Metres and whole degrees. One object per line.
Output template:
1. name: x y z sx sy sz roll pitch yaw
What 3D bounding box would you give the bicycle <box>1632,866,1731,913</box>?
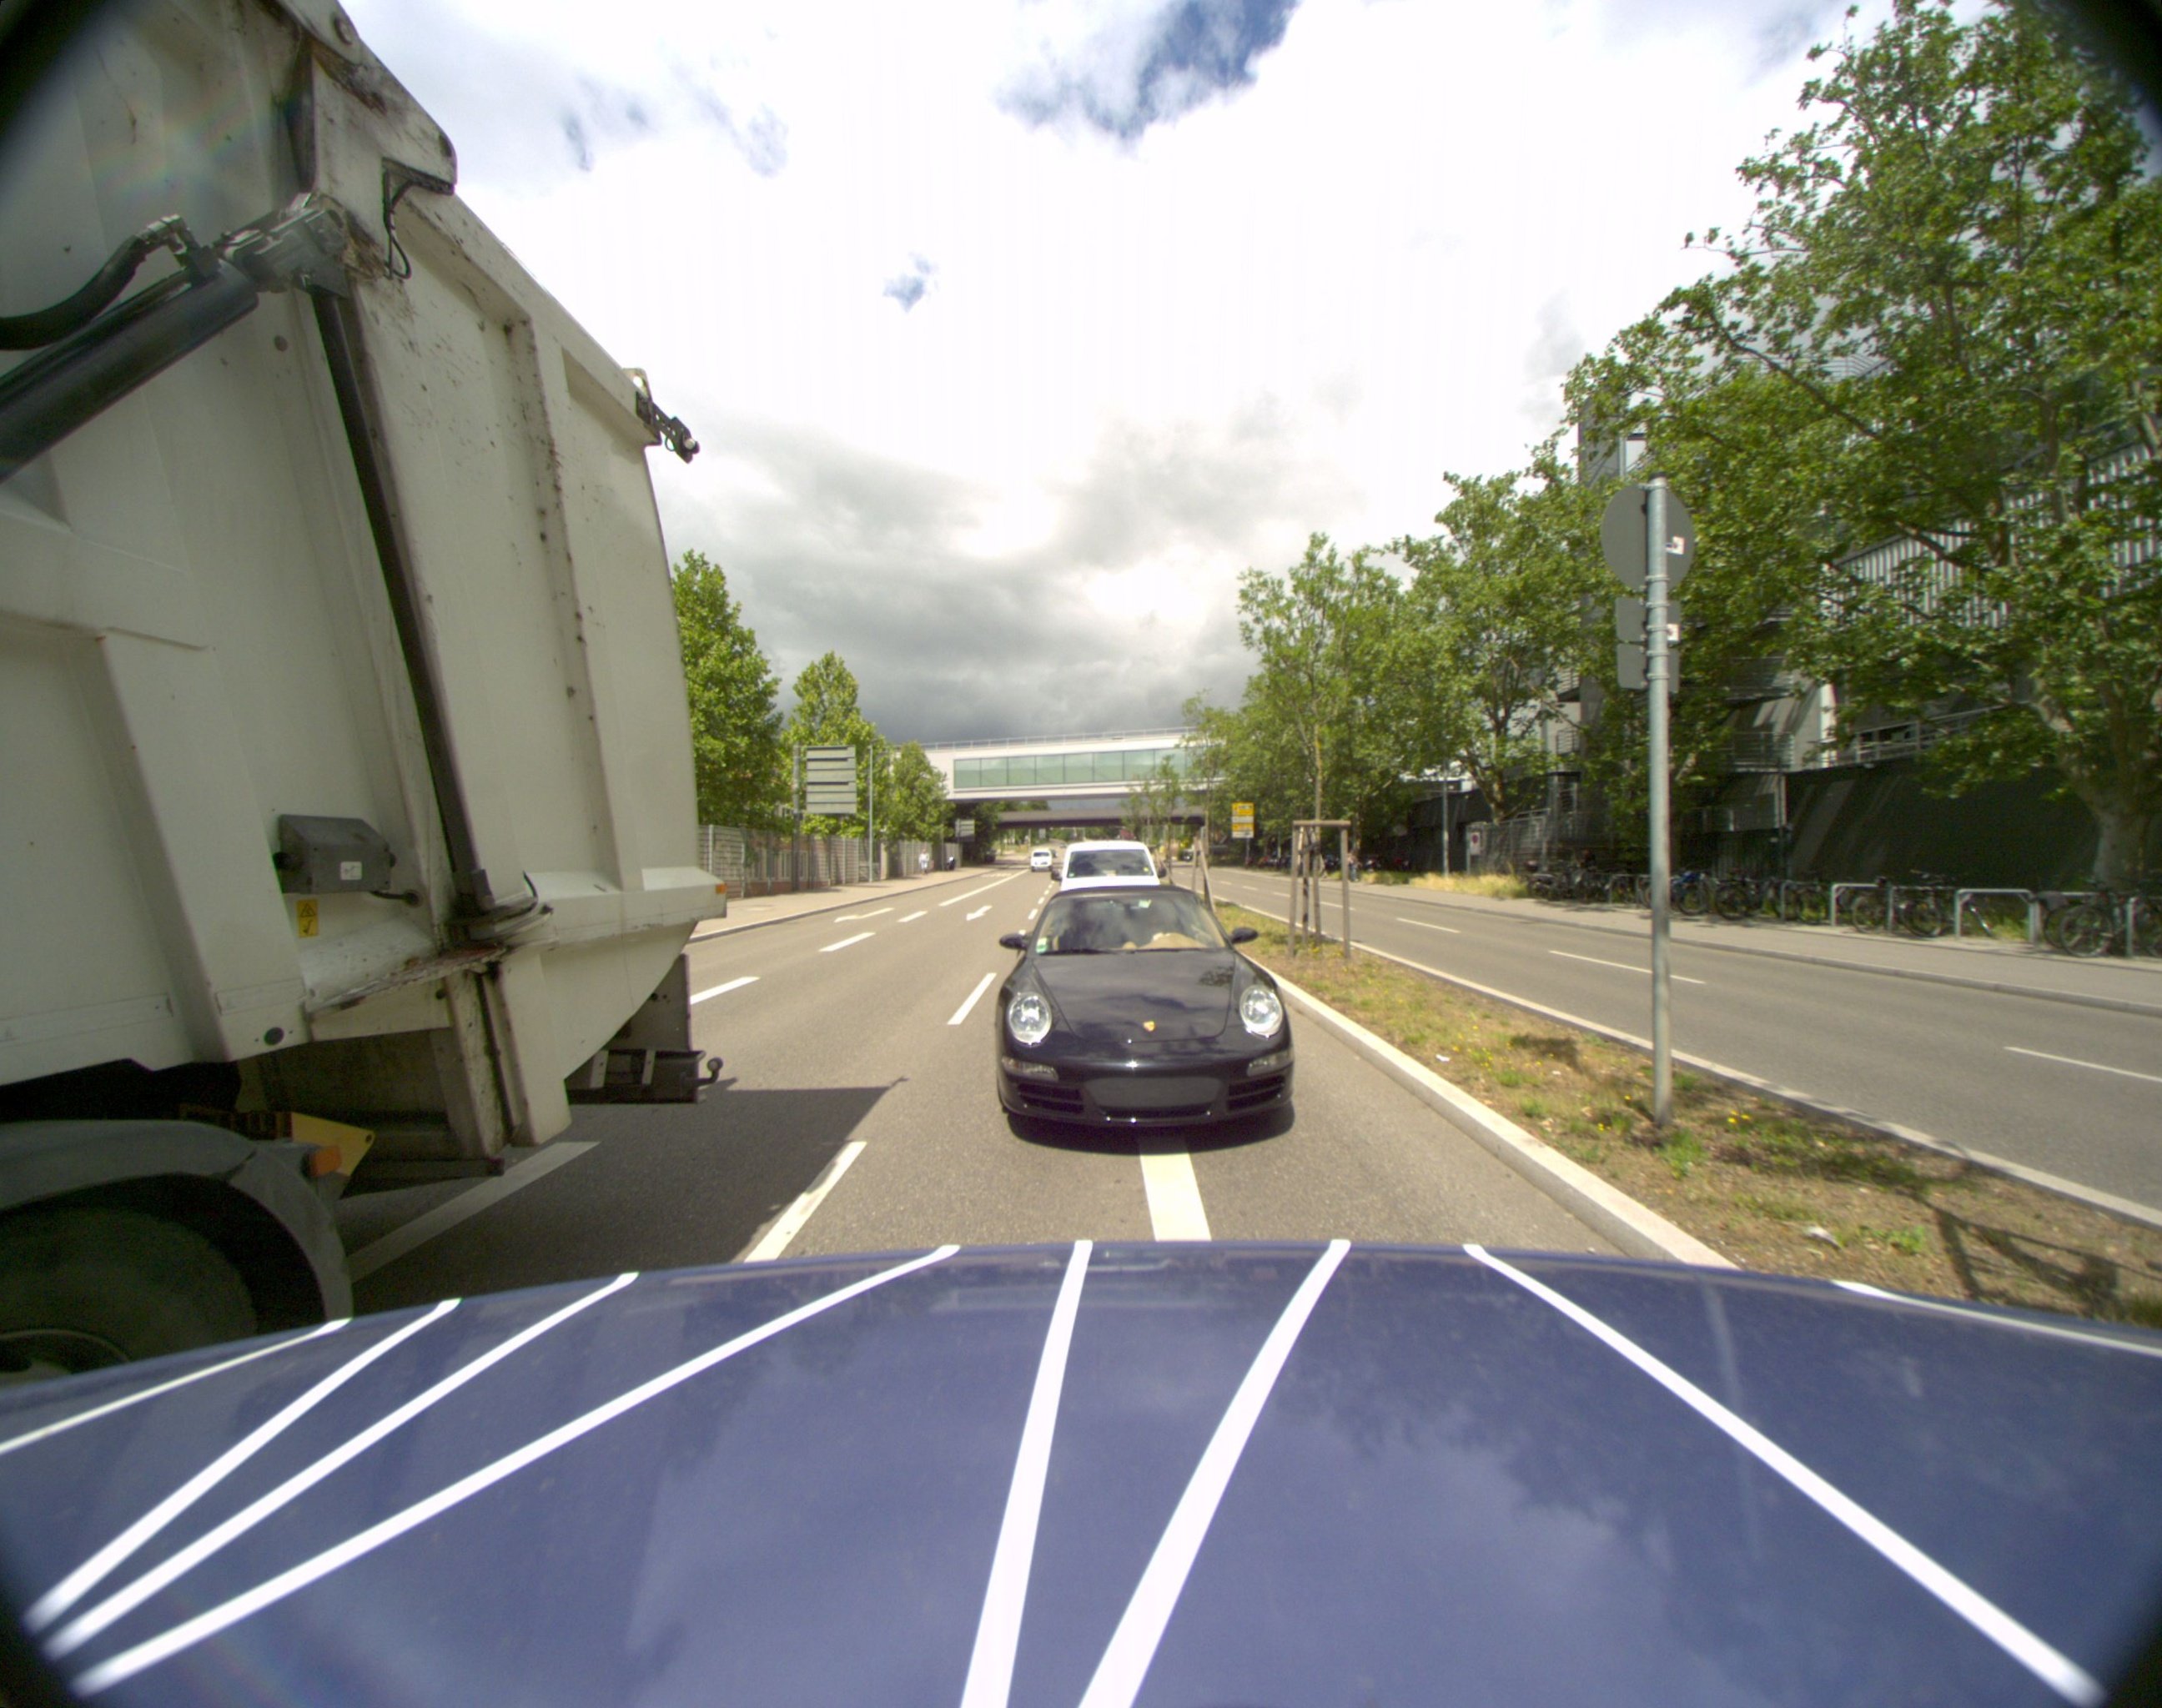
1. bicycle: 15.063 0.891 19.078 2.129 1.104 0.382 -1 1 3

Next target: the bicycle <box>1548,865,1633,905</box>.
1. bicycle: 14.751 0.897 22.013 2.129 1.104 0.382 -1 1 3

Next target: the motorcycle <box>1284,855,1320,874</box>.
1. motorcycle: 14.268 0.676 49.084 2.133 1.131 0.534 -1 0 1

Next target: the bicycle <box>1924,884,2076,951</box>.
1. bicycle: 14.752 1.010 12.211 1.993 0.992 0.382 -1 1 -1

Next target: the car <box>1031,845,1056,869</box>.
1. car: -3.409 0.289 70.166 1.925 2.082 4.657 -1 0 2

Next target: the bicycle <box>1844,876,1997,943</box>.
1. bicycle: 14.577 0.953 13.212 2.129 1.089 0.382 -1 1 3

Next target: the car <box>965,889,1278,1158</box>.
1. car: 0.249 1.031 6.121 1.710 1.280 3.806 -1 0 1

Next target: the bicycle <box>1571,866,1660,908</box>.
1. bicycle: 14.820 0.910 21.090 2.129 1.104 0.382 -1 1 3

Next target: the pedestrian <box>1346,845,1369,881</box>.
1. pedestrian: 13.333 0.450 36.662 0.900 1.710 0.673 -1 1 1

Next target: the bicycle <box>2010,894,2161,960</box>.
1. bicycle: 14.955 1.068 11.232 1.993 0.885 0.382 -1 1 -1

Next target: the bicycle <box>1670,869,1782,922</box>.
1. bicycle: 14.478 0.928 17.076 2.129 1.104 0.382 -1 1 3

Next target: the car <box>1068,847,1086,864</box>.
1. car: -0.408 0.195 87.633 1.862 1.800 4.357 -3 0 1

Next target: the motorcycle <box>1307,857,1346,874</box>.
1. motorcycle: 14.758 0.664 45.637 2.133 0.963 0.534 -1 0 1

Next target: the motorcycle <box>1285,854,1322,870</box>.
1. motorcycle: 13.974 0.507 47.730 2.133 0.963 0.534 -1 0 1

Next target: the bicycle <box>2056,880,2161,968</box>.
1. bicycle: 14.353 0.924 10.229 1.993 1.121 0.382 -1 1 -1

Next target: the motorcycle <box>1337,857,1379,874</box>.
1. motorcycle: 15.454 0.646 42.441 2.133 0.893 0.534 -1 0 1

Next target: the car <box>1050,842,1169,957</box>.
1. car: 0.490 0.729 14.693 1.862 1.800 4.906 -1 0 1

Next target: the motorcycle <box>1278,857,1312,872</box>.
1. motorcycle: 14.442 0.714 51.291 2.133 0.963 0.534 -1 0 1

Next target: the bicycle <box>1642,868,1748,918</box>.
1. bicycle: 14.503 0.920 17.963 2.129 1.104 0.382 -1 1 3

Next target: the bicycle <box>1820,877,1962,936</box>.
1. bicycle: 15.010 0.965 14.106 2.129 1.025 0.382 -1 1 3

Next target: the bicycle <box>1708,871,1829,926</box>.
1. bicycle: 14.499 0.939 16.052 2.129 1.104 0.382 -1 1 3

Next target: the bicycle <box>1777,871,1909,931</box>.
1. bicycle: 15.040 0.922 15.013 2.129 1.104 0.382 -1 1 3

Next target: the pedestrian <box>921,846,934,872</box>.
1. pedestrian: -11.461 0.392 56.809 0.739 1.901 0.658 -2 1 -1

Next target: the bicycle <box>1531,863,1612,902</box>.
1. bicycle: 14.747 0.861 22.854 2.129 1.104 0.382 -1 1 3

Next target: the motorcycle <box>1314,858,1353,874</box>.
1. motorcycle: 14.797 0.727 44.549 2.133 0.880 0.534 -1 0 1
